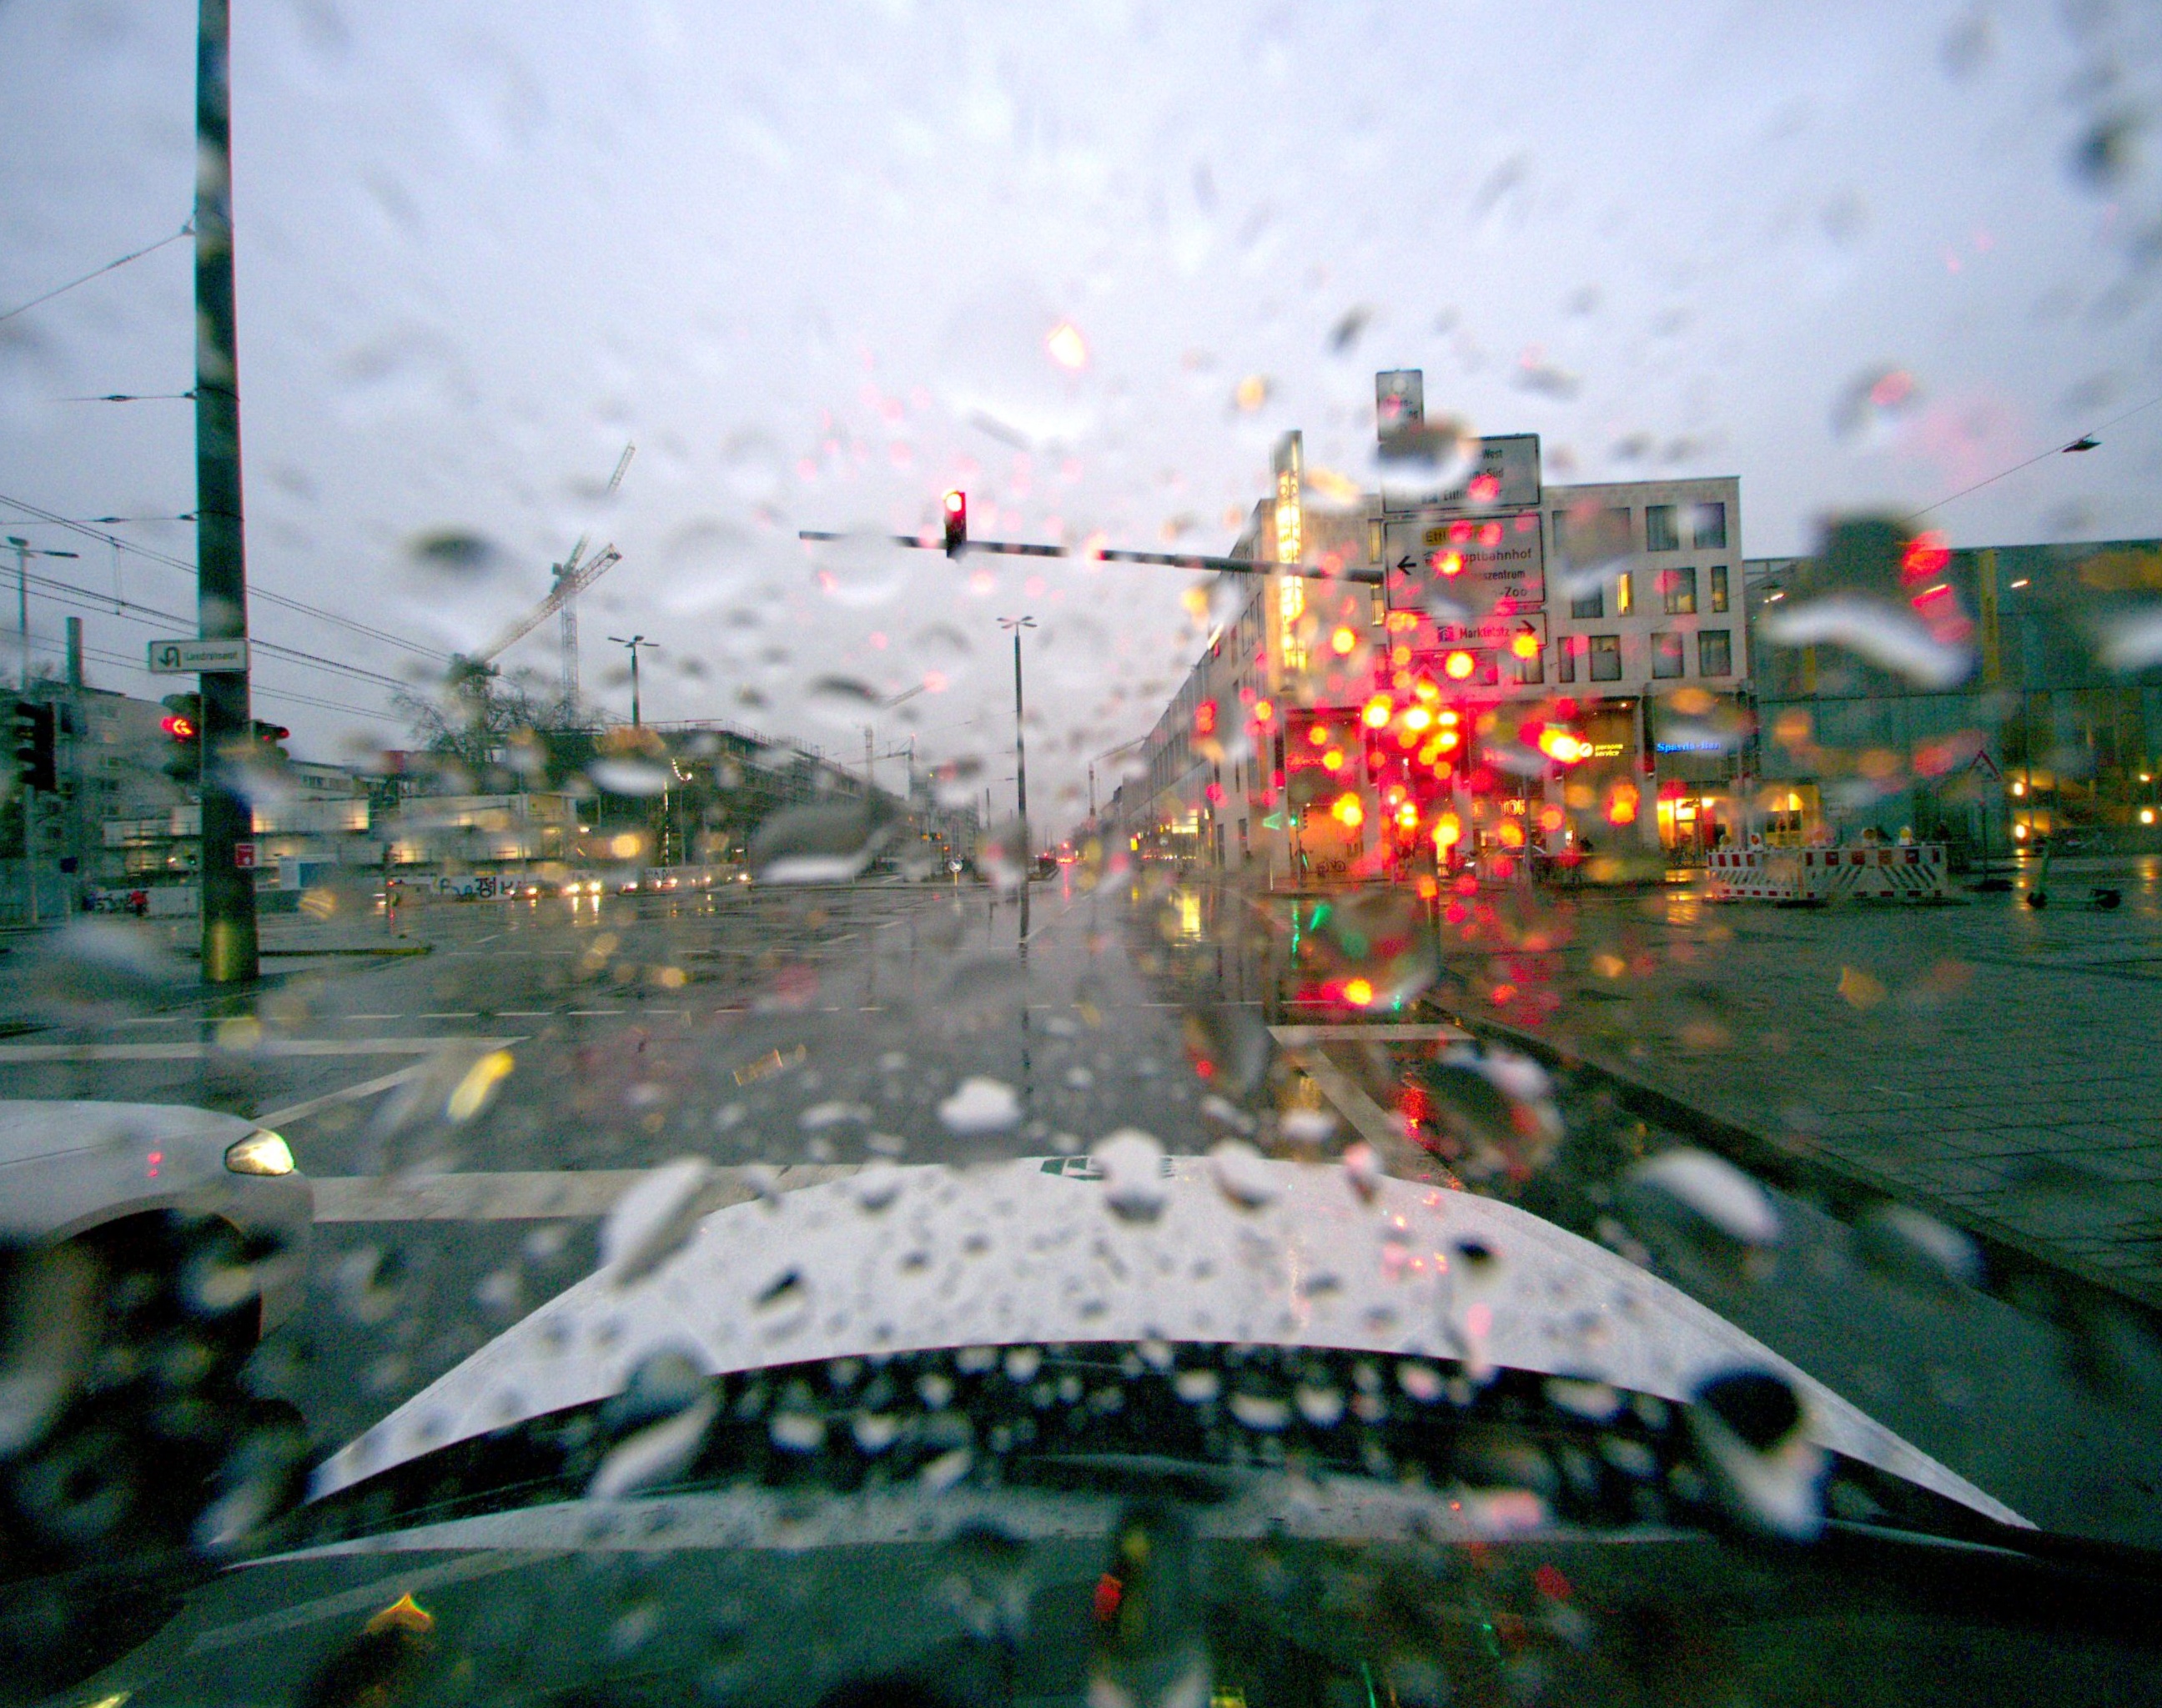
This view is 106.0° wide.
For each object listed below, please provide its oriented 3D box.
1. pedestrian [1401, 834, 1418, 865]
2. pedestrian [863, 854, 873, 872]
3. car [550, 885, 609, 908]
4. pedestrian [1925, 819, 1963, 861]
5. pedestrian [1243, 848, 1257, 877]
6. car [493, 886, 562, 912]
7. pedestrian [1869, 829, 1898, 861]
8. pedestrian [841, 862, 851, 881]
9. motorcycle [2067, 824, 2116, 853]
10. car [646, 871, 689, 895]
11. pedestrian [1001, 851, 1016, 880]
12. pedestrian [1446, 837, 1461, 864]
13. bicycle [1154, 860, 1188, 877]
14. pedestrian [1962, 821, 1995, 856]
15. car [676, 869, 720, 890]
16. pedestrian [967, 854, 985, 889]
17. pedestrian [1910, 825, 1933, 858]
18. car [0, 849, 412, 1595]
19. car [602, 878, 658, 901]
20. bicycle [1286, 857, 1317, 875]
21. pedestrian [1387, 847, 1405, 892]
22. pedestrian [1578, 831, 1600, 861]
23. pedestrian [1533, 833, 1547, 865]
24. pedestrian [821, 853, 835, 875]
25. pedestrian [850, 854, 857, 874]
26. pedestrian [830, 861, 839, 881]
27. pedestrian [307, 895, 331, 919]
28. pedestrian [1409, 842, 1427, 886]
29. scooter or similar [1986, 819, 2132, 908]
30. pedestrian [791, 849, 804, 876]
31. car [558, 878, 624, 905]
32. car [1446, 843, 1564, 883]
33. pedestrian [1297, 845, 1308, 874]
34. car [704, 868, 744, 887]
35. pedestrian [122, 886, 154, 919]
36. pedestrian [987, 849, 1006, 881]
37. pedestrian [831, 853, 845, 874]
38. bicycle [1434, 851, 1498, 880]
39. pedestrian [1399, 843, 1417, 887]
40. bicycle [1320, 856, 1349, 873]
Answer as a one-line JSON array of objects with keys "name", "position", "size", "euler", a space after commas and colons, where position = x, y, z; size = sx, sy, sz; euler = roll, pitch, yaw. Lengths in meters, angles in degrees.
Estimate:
[{"name": "pedestrian", "position": [21.724, -0.283, 53.866], "size": [0.841, 2.013, 0.700], "euler": [-2, 0, 10]}, {"name": "pedestrian", "position": [-24.037, 0.988, 92.119], "size": [0.941, 2.014, 1.091], "euler": [0, -1, -7]}, {"name": "car", "position": [-38.997, 3.293, 63.496], "size": [1.986, 1.530, 4.001], "euler": [-2, 0, 2]}, {"name": "pedestrian", "position": [35.592, -0.563, 33.611], "size": [0.737, 1.684, 0.783], "euler": [0, -1, 8]}, {"name": "pedestrian", "position": [10.193, 0.511, 49.146], "size": [0.634, 1.709, 0.574], "euler": [-2, -1, 1]}, {"name": "car", "position": [-38.601, 3.125, 56.940], "size": [1.986, 1.530, 4.001], "euler": [-2, 0, 2]}, {"name": "pedestrian", "position": [42.487, -0.457, 43.115], "size": [0.737, 1.684, 0.783], "euler": [0, -1, 8]}, {"name": "pedestrian", "position": [-23.145, 1.721, 80.107], "size": [0.762, 1.898, 0.763], "euler": [0, -2, 1]}, {"name": "motorcycle", "position": [48.275, -0.753, 38.913], "size": [1.482, 1.352, 0.595], "euler": [0, 0, 5]}, {"name": "car", "position": [-34.740, 2.405, 68.581], "size": [1.862, 1.828, 3.993], "euler": [0, -1, -5]}, {"name": "pedestrian", "position": [-4.299, 0.684, 48.243], "size": [0.605, 1.686, 0.581], "euler": [-1, -1, 44]}, {"name": "pedestrian", "position": [23.870, -0.221, 52.161], "size": [0.728, 1.718, 0.743], "euler": [-3, -1, 29]}, {"name": "bicycle", "position": [6.815, 1.075, 61.625], "size": [2.434, 1.154, 0.674], "euler": [-2, -1, 0]}, {"name": "pedestrian", "position": [43.993, -0.729, 39.908], "size": [0.737, 1.684, 0.783], "euler": [0, -1, 8]}, {"name": "car", "position": [-35.031, 2.314, 74.651], "size": [1.985, 1.790, 4.002], "euler": [0, -1, 3]}, {"name": "pedestrian", "position": [-6.143, 1.000, 47.623], "size": [0.776, 2.014, 0.732], "euler": [-1, -1, 44]}, {"name": "pedestrian", "position": [42.272, -0.619, 40.951], "size": [0.539, 1.684, 0.583], "euler": [0, -1, 8]}, {"name": "car", "position": [-3.208, 0.764, 0.321], "size": [2.010, 1.487, 4.561], "euler": [-2, 0, 1]}, {"name": "car", "position": [-34.282, 2.637, 62.064], "size": [2.074, 1.530, 4.603], "euler": [-2, 0, -8]}, {"name": "bicycle", "position": [13.651, 0.737, 50.499], "size": [1.765, 1.070, 0.523], "euler": [0, -1, -7]}, {"name": "pedestrian", "position": [17.466, 0.853, 45.151], "size": [0.712, 2.441, 0.758], "euler": [0, -1, 1]}, {"name": "pedestrian", "position": [29.368, -0.432, 47.086], "size": [0.890, 1.684, 0.528], "euler": [-2, -1, 1]}, {"name": "pedestrian", "position": [26.140, -0.281, 46.366], "size": [0.549, 1.826, 0.361], "euler": [-2, -1, 2]}, {"name": "pedestrian", "position": [-23.833, 0.927, 76.812], "size": [0.939, 2.014, 1.094], "euler": [0, -1, 0]}, {"name": "pedestrian", "position": [-22.766, 1.012, 81.540], "size": [0.569, 1.968, 0.664], "euler": [1, -1, -4]}, {"name": "pedestrian", "position": [-23.528, 1.628, 77.854], "size": [0.696, 1.881, 0.553], "euler": [0, -1, 1]}, {"name": "pedestrian", "position": [-46.547, 3.242, 49.728], "size": [0.725, 1.388, 0.725], "euler": [-2, -1, 4]}, {"name": "pedestrian", "position": [18.955, 0.535, 45.794], "size": [0.691, 2.448, 0.792], "euler": [0, -1, 1]}, {"name": "scooter or similar", "position": [15.686, 0.139, 13.119], "size": [0.590, 1.352, 1.495], "euler": [0, 0, 2]}, {"name": "pedestrian", "position": [-24.202, 0.714, 69.570], "size": [0.762, 2.323, 0.763], "euler": [0, -2, 1]}, {"name": "car", "position": [-33.652, 2.538, 56.065], "size": [1.986, 1.657, 4.001], "euler": [-2, 0, 2]}, {"name": "car", "position": [17.900, 0.368, 34.557], "size": [3.970, 1.618, 2.001], "euler": [0, -1, 3]}, {"name": "pedestrian", "position": [13.557, 0.330, 49.861], "size": [0.596, 1.745, 0.526], "euler": [-1, -1, 10]}, {"name": "car", "position": [-35.098, 2.317, 80.205], "size": [1.985, 1.790, 4.002], "euler": [0, -1, 3]}, {"name": "pedestrian", "position": [-57.349, 2.953, 49.536], "size": [0.921, 1.934, 0.816], "euler": [0, -1, -5]}, {"name": "pedestrian", "position": [-4.880, 0.646, 46.850], "size": [0.826, 1.831, 0.778], "euler": [0, -1, -29]}, {"name": "pedestrian", "position": [-23.550, 0.877, 78.936], "size": [0.938, 2.014, 1.095], "euler": [0, -1, 4]}, {"name": "bicycle", "position": [19.249, 0.579, 40.776], "size": [2.705, 1.359, 0.957], "euler": [-2, -1, -2]}, {"name": "pedestrian", "position": [18.213, 0.622, 45.340], "size": [0.687, 2.441, 0.758], "euler": [0, -1, 1]}, {"name": "bicycle", "position": [15.744, 0.655, 50.587], "size": [1.642, 1.070, 0.524], "euler": [0, -1, -2]}]
